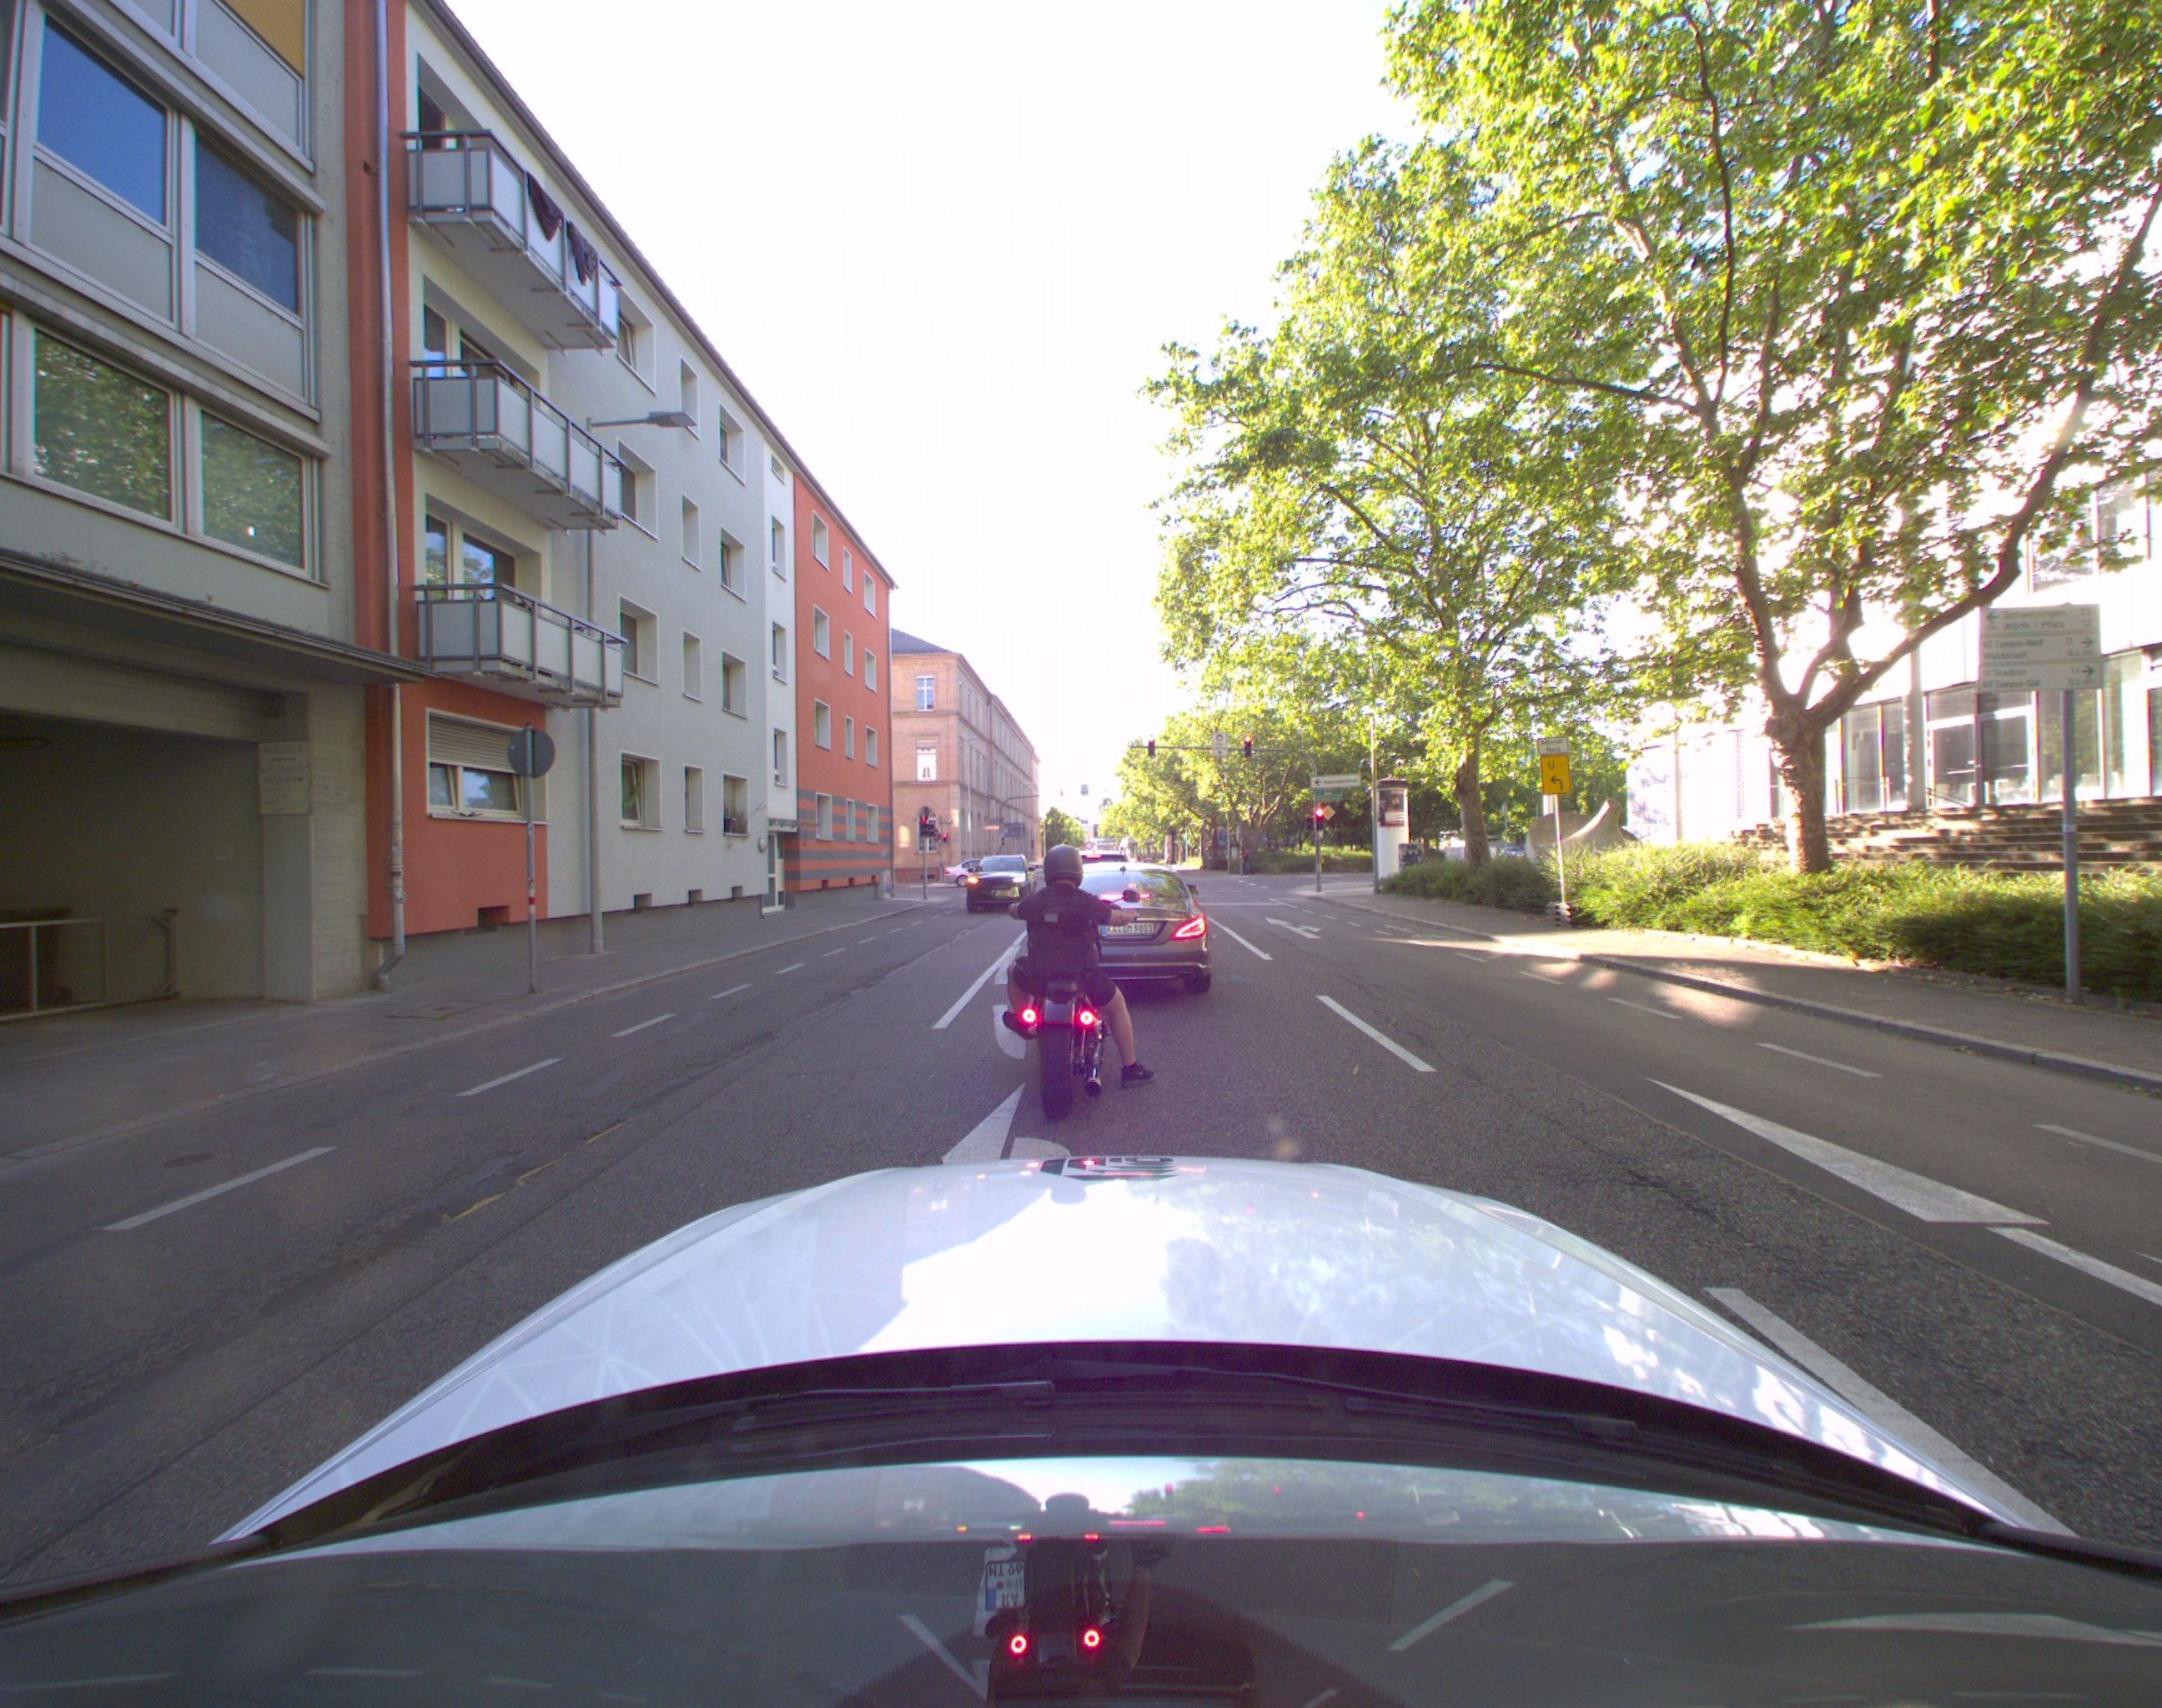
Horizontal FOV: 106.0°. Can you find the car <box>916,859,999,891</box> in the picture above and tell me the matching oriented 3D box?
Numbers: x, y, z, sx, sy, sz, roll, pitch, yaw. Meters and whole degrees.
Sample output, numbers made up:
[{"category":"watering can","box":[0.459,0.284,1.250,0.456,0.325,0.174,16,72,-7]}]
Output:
[{"category":"car","box":[-6.337,1.041,41.619,4.125,1.575,1.850,0,-1,-12]}]

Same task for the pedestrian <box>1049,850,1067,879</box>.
[{"category":"pedestrian","box":[-1.454,0.677,52.189,0.996,1.826,1.078,0,-1,8]}]

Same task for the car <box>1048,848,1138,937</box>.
[{"category":"car","box":[0.280,0.695,16.875,1.615,1.594,4.002,-1,0,2]}]

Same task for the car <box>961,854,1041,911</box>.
[{"category":"car","box":[-2.307,0.802,24.637,1.843,1.570,4.387,0,-1,2]}]

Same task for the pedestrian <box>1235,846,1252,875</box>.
[{"category":"pedestrian","box":[10.865,0.436,54.445,0.752,1.910,0.920,0,-1,-20]}]

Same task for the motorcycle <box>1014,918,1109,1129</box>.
[{"category":"motorcycle","box":[-0.073,1.007,5.456,0.511,1.002,2.014,0,-1,2]}]

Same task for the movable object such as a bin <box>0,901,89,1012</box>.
[{"category":"movable object such as a bin","box":[-11.253,1.068,8.651,0.626,1.100,0.659,0,-1,4]}]

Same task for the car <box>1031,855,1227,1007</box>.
[{"category":"car","box":[0.521,0.742,9.747,1.875,1.449,3.821,0,0,2]}]

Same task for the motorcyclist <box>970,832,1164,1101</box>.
[{"category":"motorcyclist","box":[-0.066,0.675,5.494,1.145,1.598,1.288,0,-1,1]}]

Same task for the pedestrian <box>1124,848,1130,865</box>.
[{"category":"pedestrian","box":[5.681,0.281,100.900,0.761,2.051,0.712,0,-1,1]}]
